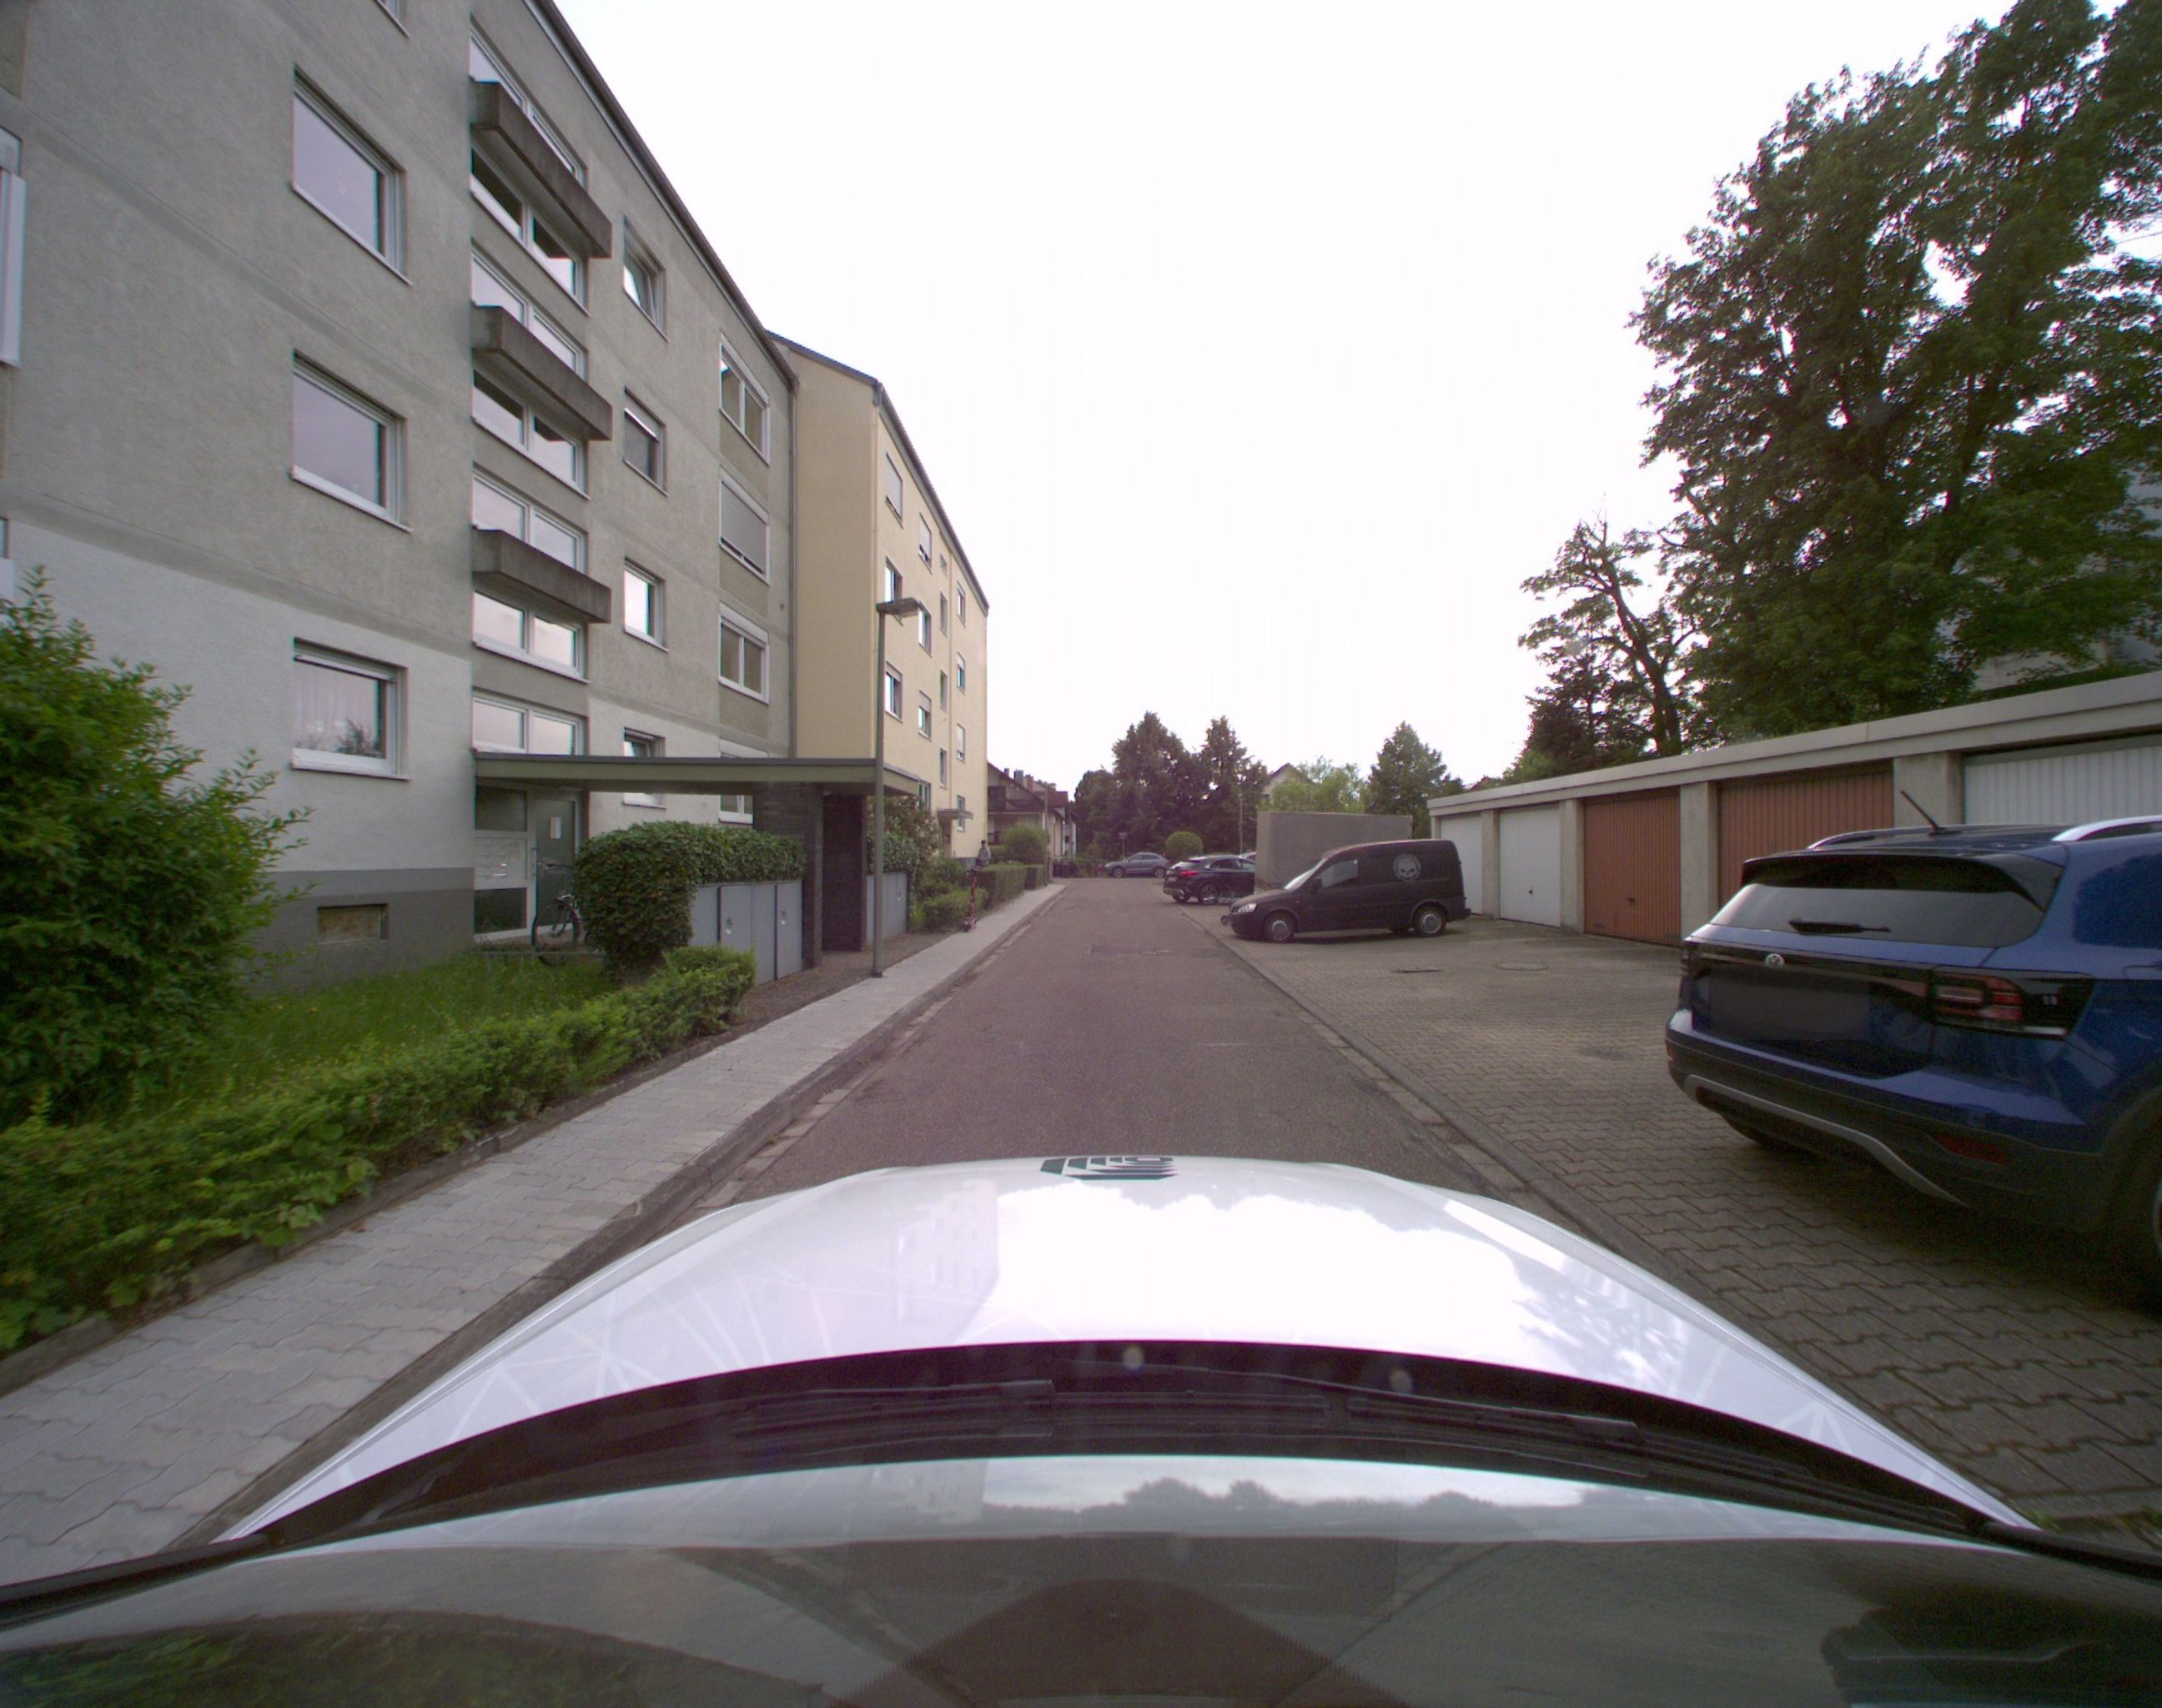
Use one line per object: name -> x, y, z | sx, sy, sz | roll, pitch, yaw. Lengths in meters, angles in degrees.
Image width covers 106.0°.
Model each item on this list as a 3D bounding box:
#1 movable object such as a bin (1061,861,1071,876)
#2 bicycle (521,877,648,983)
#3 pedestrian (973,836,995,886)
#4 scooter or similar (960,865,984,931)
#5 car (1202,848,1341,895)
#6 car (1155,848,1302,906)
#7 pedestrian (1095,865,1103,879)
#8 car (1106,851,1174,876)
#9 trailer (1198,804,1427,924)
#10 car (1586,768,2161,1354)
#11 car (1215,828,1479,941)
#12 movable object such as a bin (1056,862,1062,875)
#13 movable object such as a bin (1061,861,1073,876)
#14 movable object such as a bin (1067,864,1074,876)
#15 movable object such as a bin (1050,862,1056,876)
movable object such as a bin -> -0.976, 0.954, 53.703 | 0.636, 0.953, 0.723 | 1, 0, 1
bicycle -> -5.475, 0.797, 9.084 | 0.372, 1.034, 1.548 | 2, 0, 3
pedestrian -> -3.481, 0.243, 29.143 | 0.676, 1.749, 0.756 | 1, 0, 0
scooter or similar -> -2.116, 0.838, 15.839 | 0.272, 1.211, 1.165 | -1, 0, 1
car -> 6.651, 0.593, 28.778 | 4.518, 1.588, 1.990 | -1, 0, 3
car -> 4.568, 0.668, 25.411 | 3.997, 1.552, 1.988 | -2, 0, -17
pedestrian -> 1.959, 1.914, 87.350 | 0.812, 1.517, 0.438 | -1, -1, -1
car -> 3.701, 0.591, 51.494 | 4.222, 1.531, 1.747 | 0, -2, 1
trailer -> 5.019, 0.214, 18.169 | 4.592, 2.525, 1.943 | 0, 0, 2
car -> 4.728, 0.524, 3.386 | 3.973, 1.703, 2.000 | -3, 0, 1
car -> 4.853, 0.538, 15.355 | 4.295, 1.802, 2.000 | -3, 0, 1
movable object such as a bin -> -1.467, 0.998, 55.324 | 0.384, 0.890, 0.379 | 1, 0, -1
movable object such as a bin -> -0.931, 0.950, 54.445 | 0.731, 0.953, 0.584 | 1, 0, 1
movable object such as a bin -> -0.714, 1.095, 55.687 | 0.458, 0.797, 0.379 | 1, 0, -1
movable object such as a bin -> -1.899, 1.022, 55.310 | 0.384, 0.901, 0.379 | 1, 0, -1
